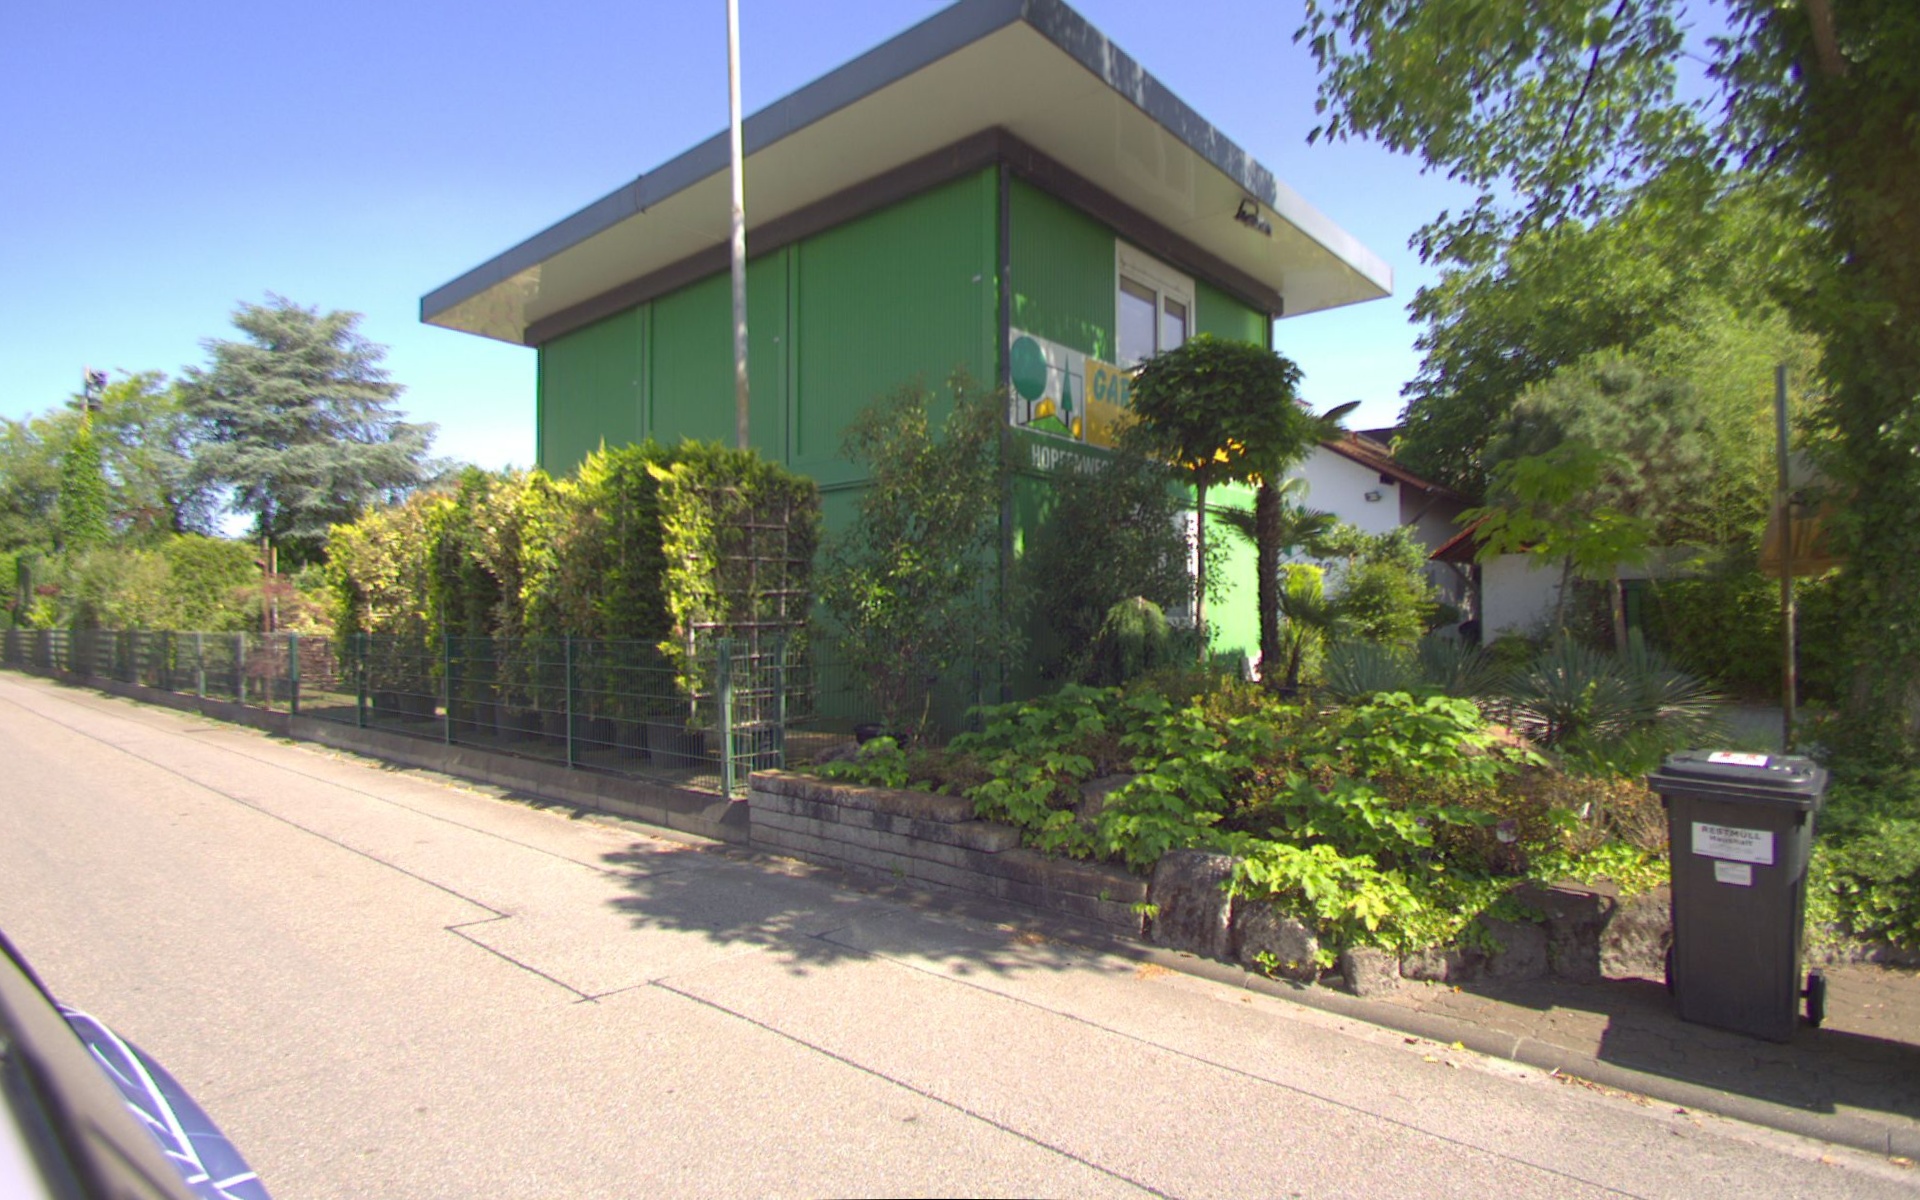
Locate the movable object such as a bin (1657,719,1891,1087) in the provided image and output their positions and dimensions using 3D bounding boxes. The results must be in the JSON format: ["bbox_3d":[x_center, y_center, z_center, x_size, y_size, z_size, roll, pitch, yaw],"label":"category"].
[{"bbox_3d":[2.801,0.970,3.493,0.568,1.032,0.576,-2,-1,42],"label":"movable object such as a bin"}]
